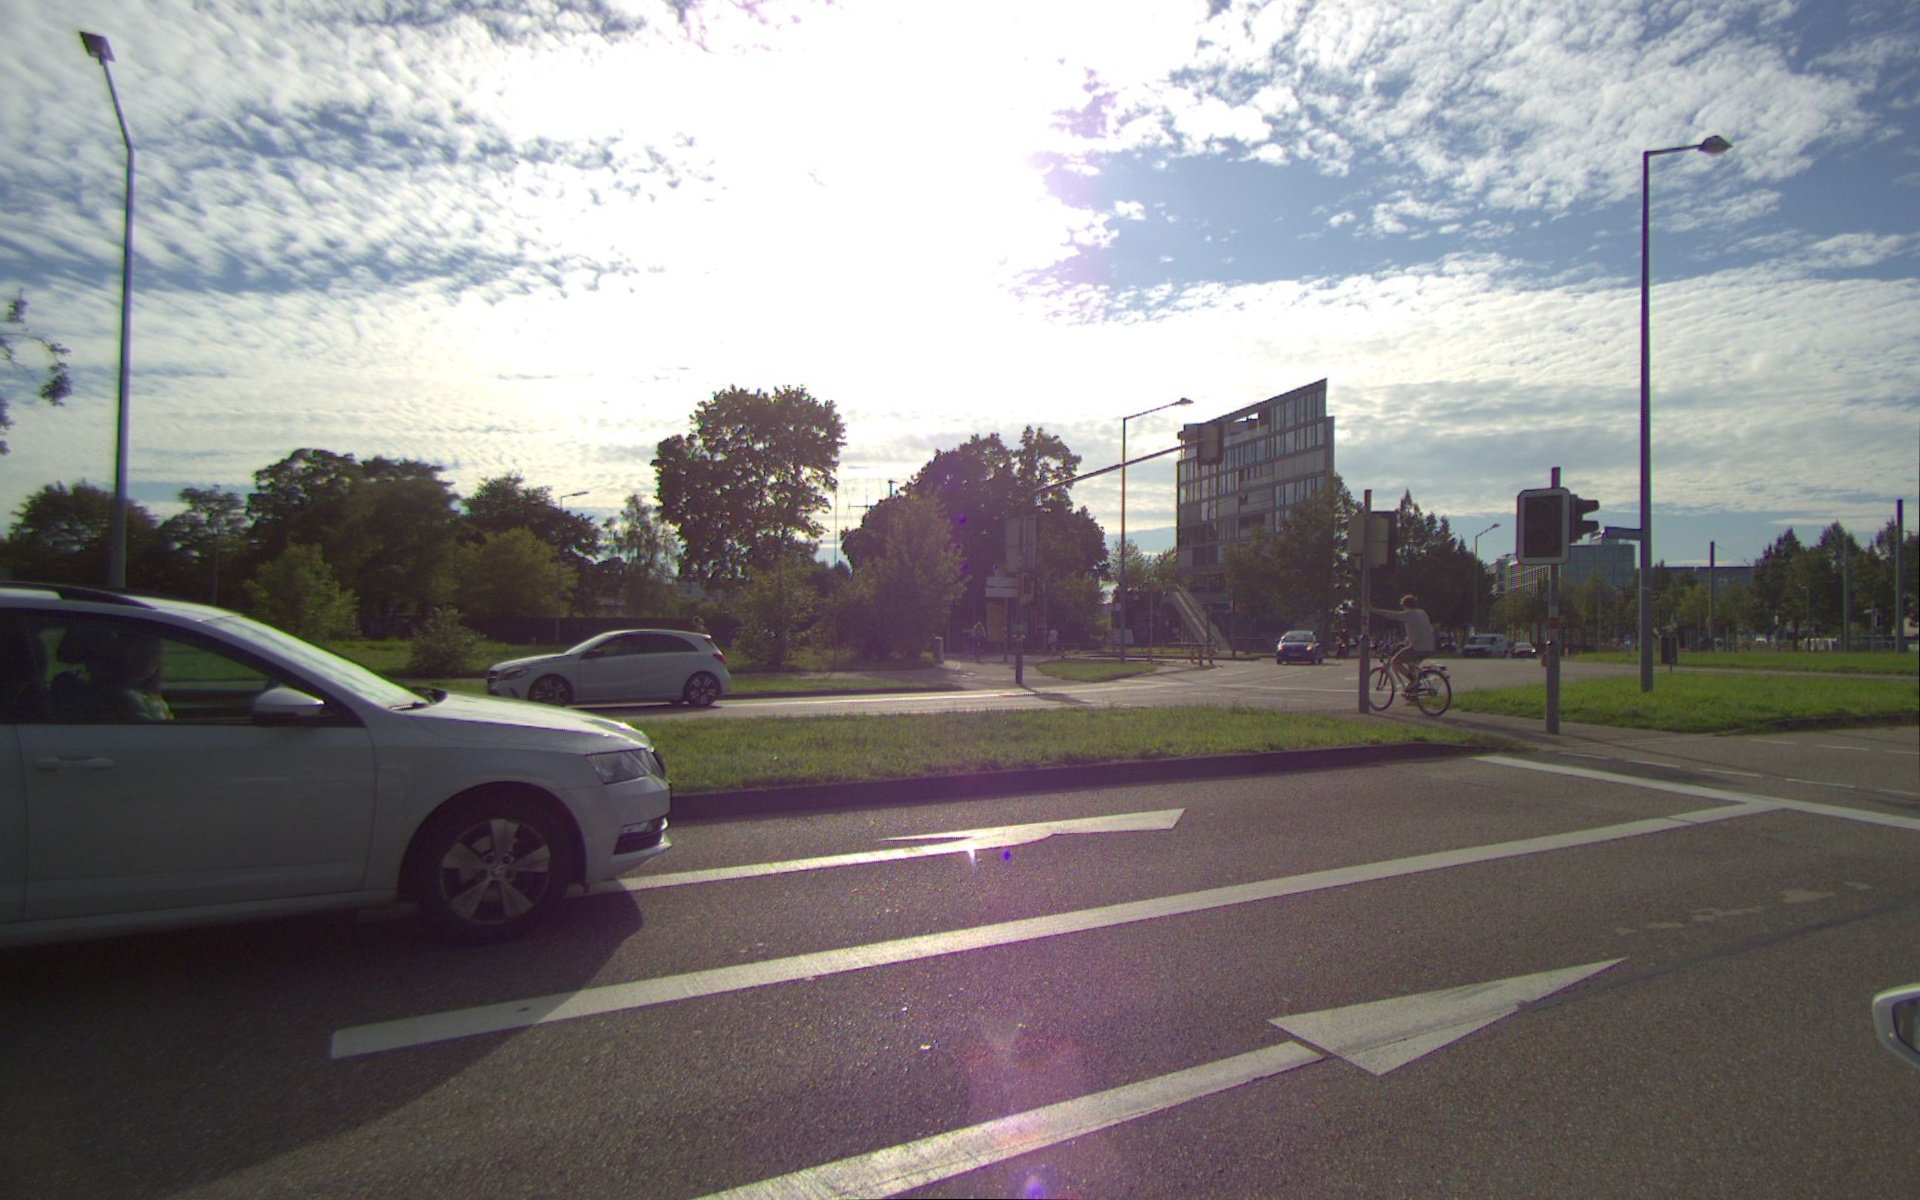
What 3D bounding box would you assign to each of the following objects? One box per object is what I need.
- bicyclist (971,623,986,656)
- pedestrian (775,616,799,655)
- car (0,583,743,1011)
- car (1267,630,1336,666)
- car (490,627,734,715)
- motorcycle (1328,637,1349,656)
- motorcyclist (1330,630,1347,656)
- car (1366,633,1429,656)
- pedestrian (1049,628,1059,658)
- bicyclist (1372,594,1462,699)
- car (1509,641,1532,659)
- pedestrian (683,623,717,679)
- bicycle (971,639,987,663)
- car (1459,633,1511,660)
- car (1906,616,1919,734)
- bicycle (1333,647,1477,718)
[{"bbox_3d":[0.841,1.777,45.300,0.599,1.465,0.698,1,-1,-4],"label":"bicyclist"},{"bbox_3d":[-8.874,1.838,51.581,0.878,1.942,0.867,2,0,12],"label":"pedestrian"},{"bbox_3d":[-3.464,0.681,4.387,4.584,1.464,1.842,2,-1,-30],"label":"car"},{"bbox_3d":[15.424,2.181,45.260,1.755,1.520,3.980,-3,-4,37],"label":"car"},{"bbox_3d":[-6.333,1.253,18.446,3.952,1.452,1.670,2,-2,-33],"label":"car"},{"bbox_3d":[21.000,2.572,55.743,0.768,0.999,2.025,0,0,12],"label":"motorcycle"},{"bbox_3d":[20.957,2.369,55.642,0.768,1.384,0.944,0,-2,13],"label":"motorcyclist"},{"bbox_3d":[28.969,2.929,66.527,3.949,1.439,1.757,1,-2,-28],"label":"car"},{"bbox_3d":[5.086,2.339,54.573,0.495,1.646,0.548,0,-1,10],"label":"pedestrian"},{"bbox_3d":[7.185,0.725,15.808,0.984,1.576,0.860,1,-2,-25],"label":"bicyclist"},{"bbox_3d":[47.906,4.301,85.891,1.655,1.520,3.989,-2,-4,28],"label":"car"},{"bbox_3d":[-7.257,1.417,28.014,0.748,1.528,0.623,2,1,-30],"label":"pedestrian"},{"bbox_3d":[0.843,2.293,45.363,0.599,1.001,1.837,0,-1,-3],"label":"bicycle"},{"bbox_3d":[37.718,3.328,72.139,4.524,1.848,1.667,2,-4,-40],"label":"car"},{"bbox_3d":[15.175,1.071,13.685,4.006,1.593,1.765,2,-1,-21],"label":"car"},{"bbox_3d":[7.068,1.283,16.060,0.988,1.020,1.949,1,-2,-25],"label":"bicycle"}]
